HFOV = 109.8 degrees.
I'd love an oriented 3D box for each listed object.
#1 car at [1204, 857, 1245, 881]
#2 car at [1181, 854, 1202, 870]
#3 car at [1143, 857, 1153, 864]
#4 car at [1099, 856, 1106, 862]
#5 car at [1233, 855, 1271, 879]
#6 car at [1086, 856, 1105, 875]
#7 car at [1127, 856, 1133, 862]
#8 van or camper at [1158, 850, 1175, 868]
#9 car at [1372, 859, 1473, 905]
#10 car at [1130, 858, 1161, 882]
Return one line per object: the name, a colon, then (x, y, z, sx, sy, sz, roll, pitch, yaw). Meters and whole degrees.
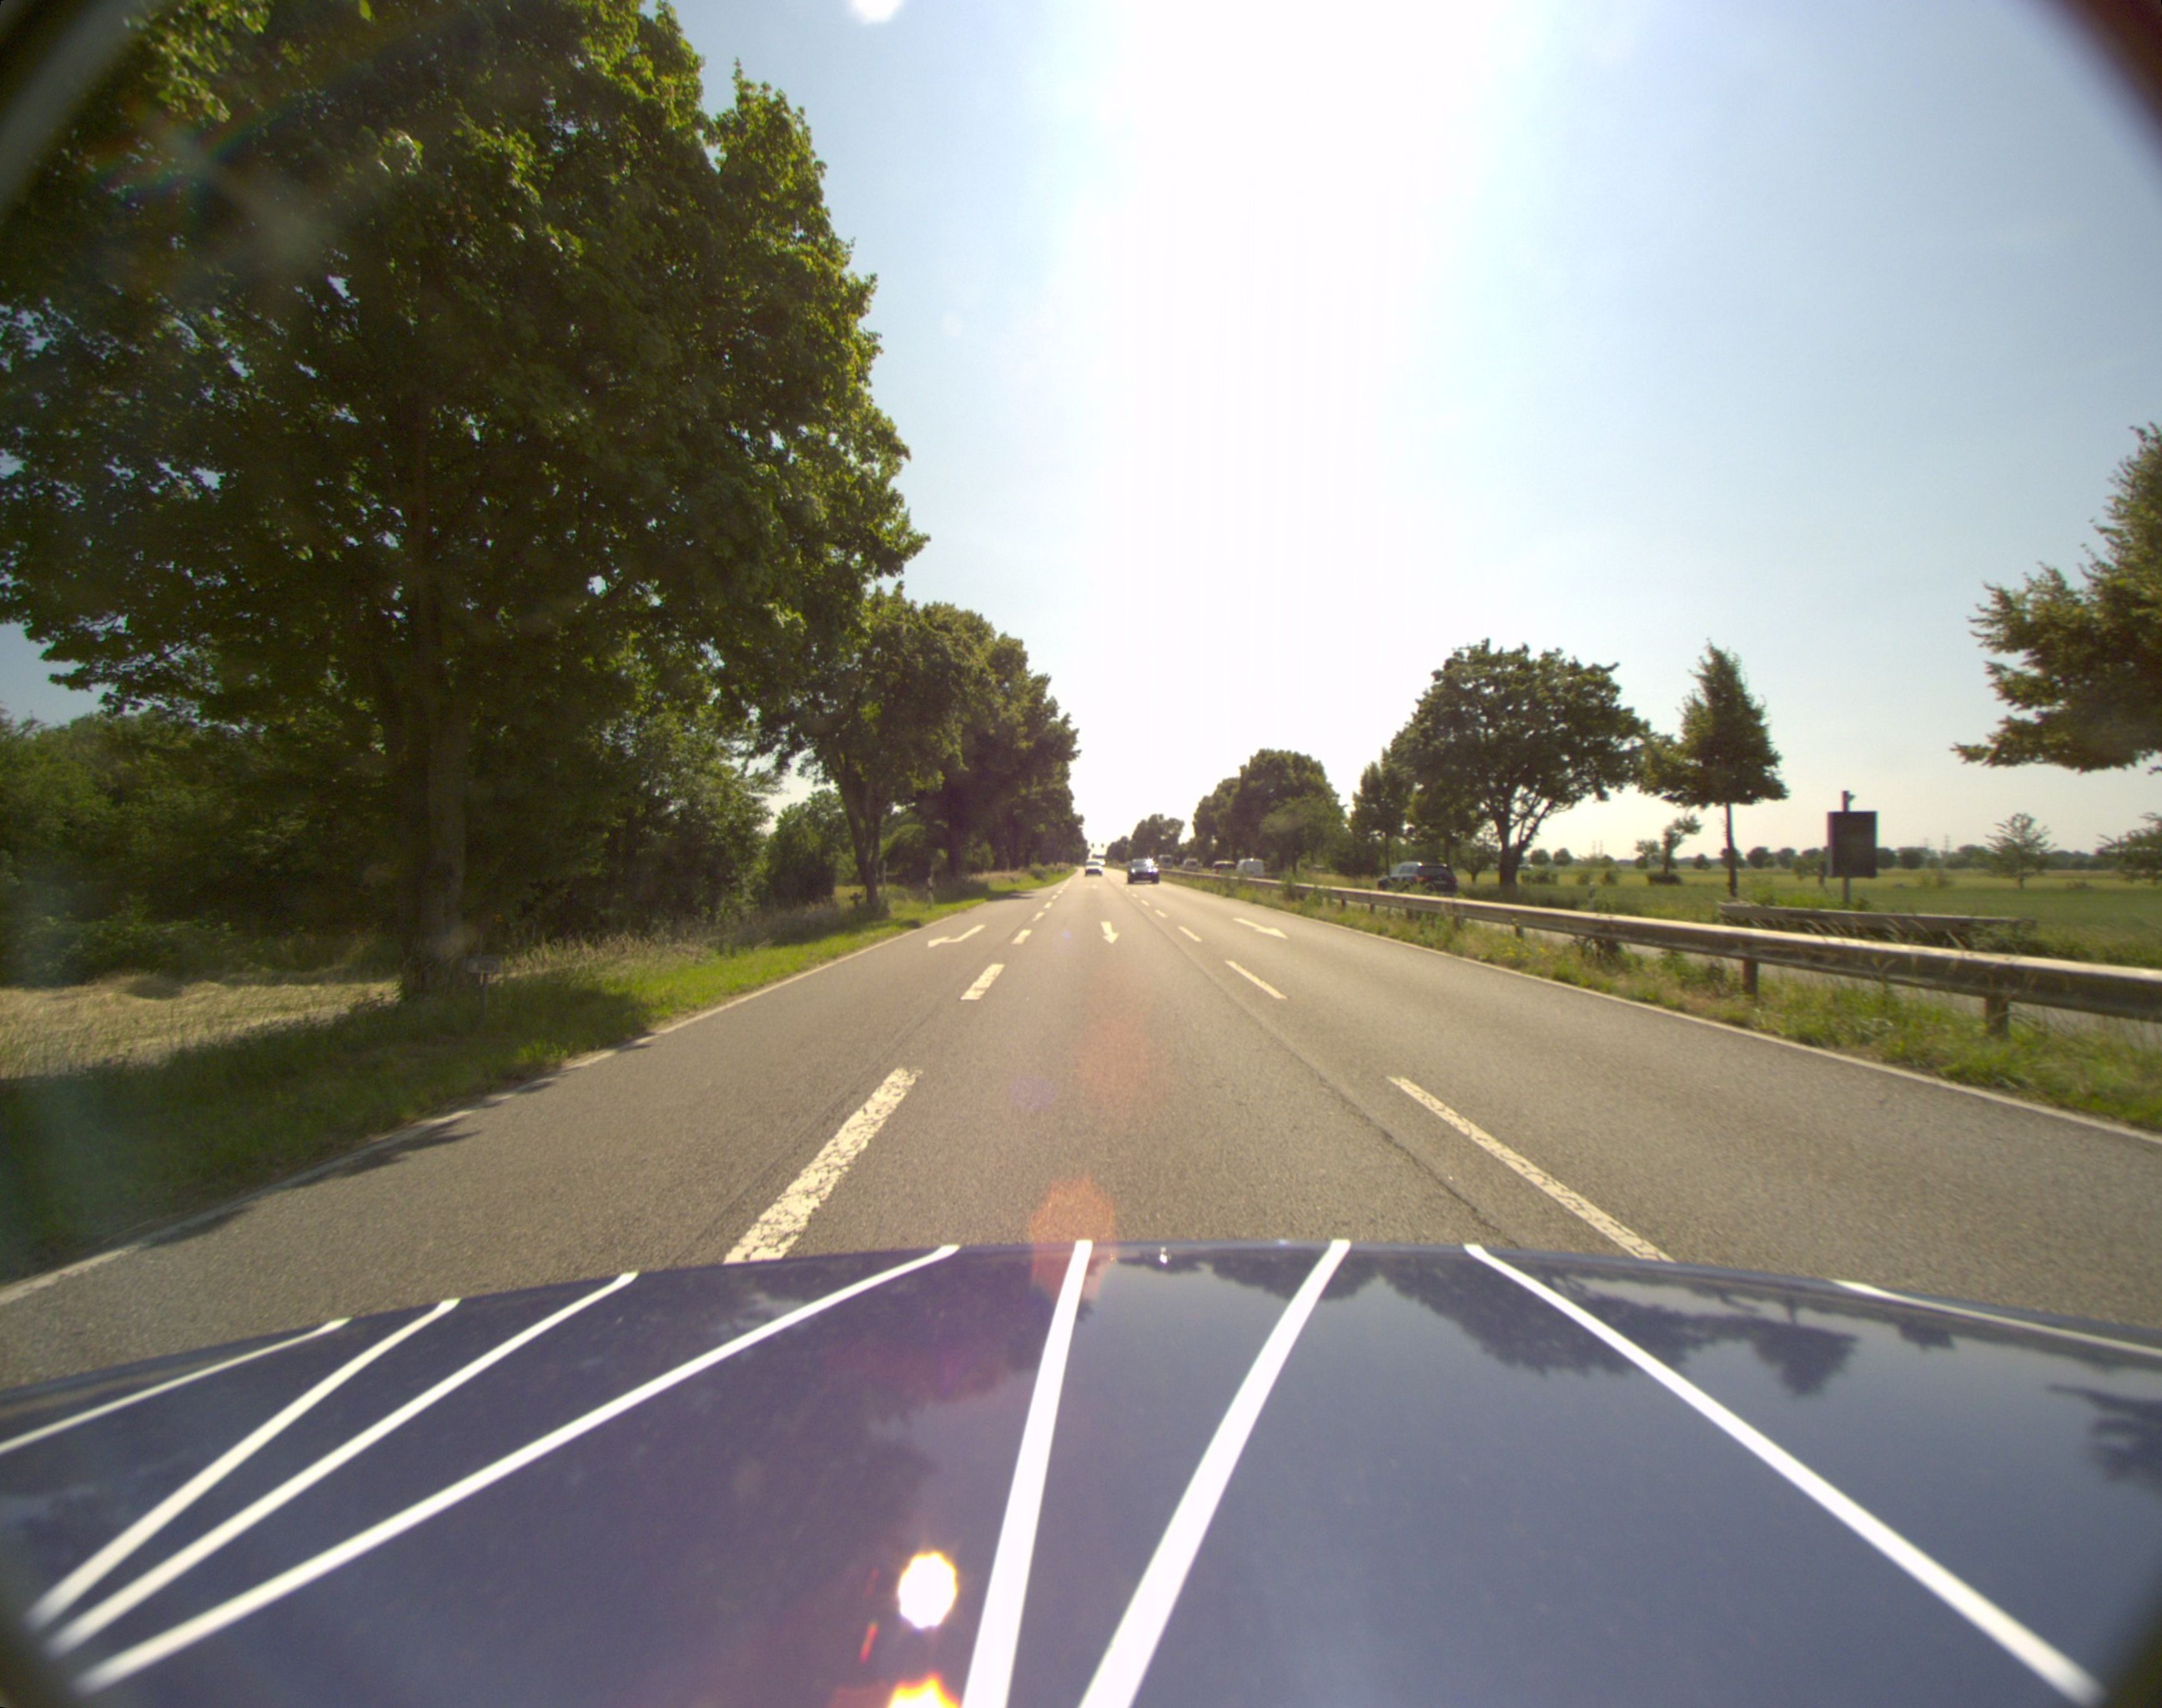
car: (9.952, 1.024, 52.950, 1.998, 1.547, 4.480, 0, 0, 0)
car: (14.242, 1.005, 98.251, 2.043, 2.002, 4.532, 0, 0, 0)
car: (15.473, 1.547, 176.396, 1.960, 1.581, 4.865, 0, 0, 0)
car: (6.292, 1.605, 225.791, 1.886, 1.775, 4.000, 0, 0, 0)
car: (14.081, 1.037, 62.863, 1.998, 1.949, 4.927, 0, 0, 0)
car: (1.486, 1.172, 78.188, 1.777, 1.863, 4.581, 0, 0, 0)
car: (14.770, 1.502, 229.289, 1.765, 1.581, 3.894, 0, 0, 0)
van or camper: (14.901, 0.885, 132.967, 2.391, 2.931, 7.091, 0, 0, 1)
car: (13.448, 1.063, 30.236, 1.998, 1.653, 4.480, -1, 0, 0)
car: (4.277, 1.056, 50.886, 1.860, 1.507, 4.101, -1, 0, 2)
